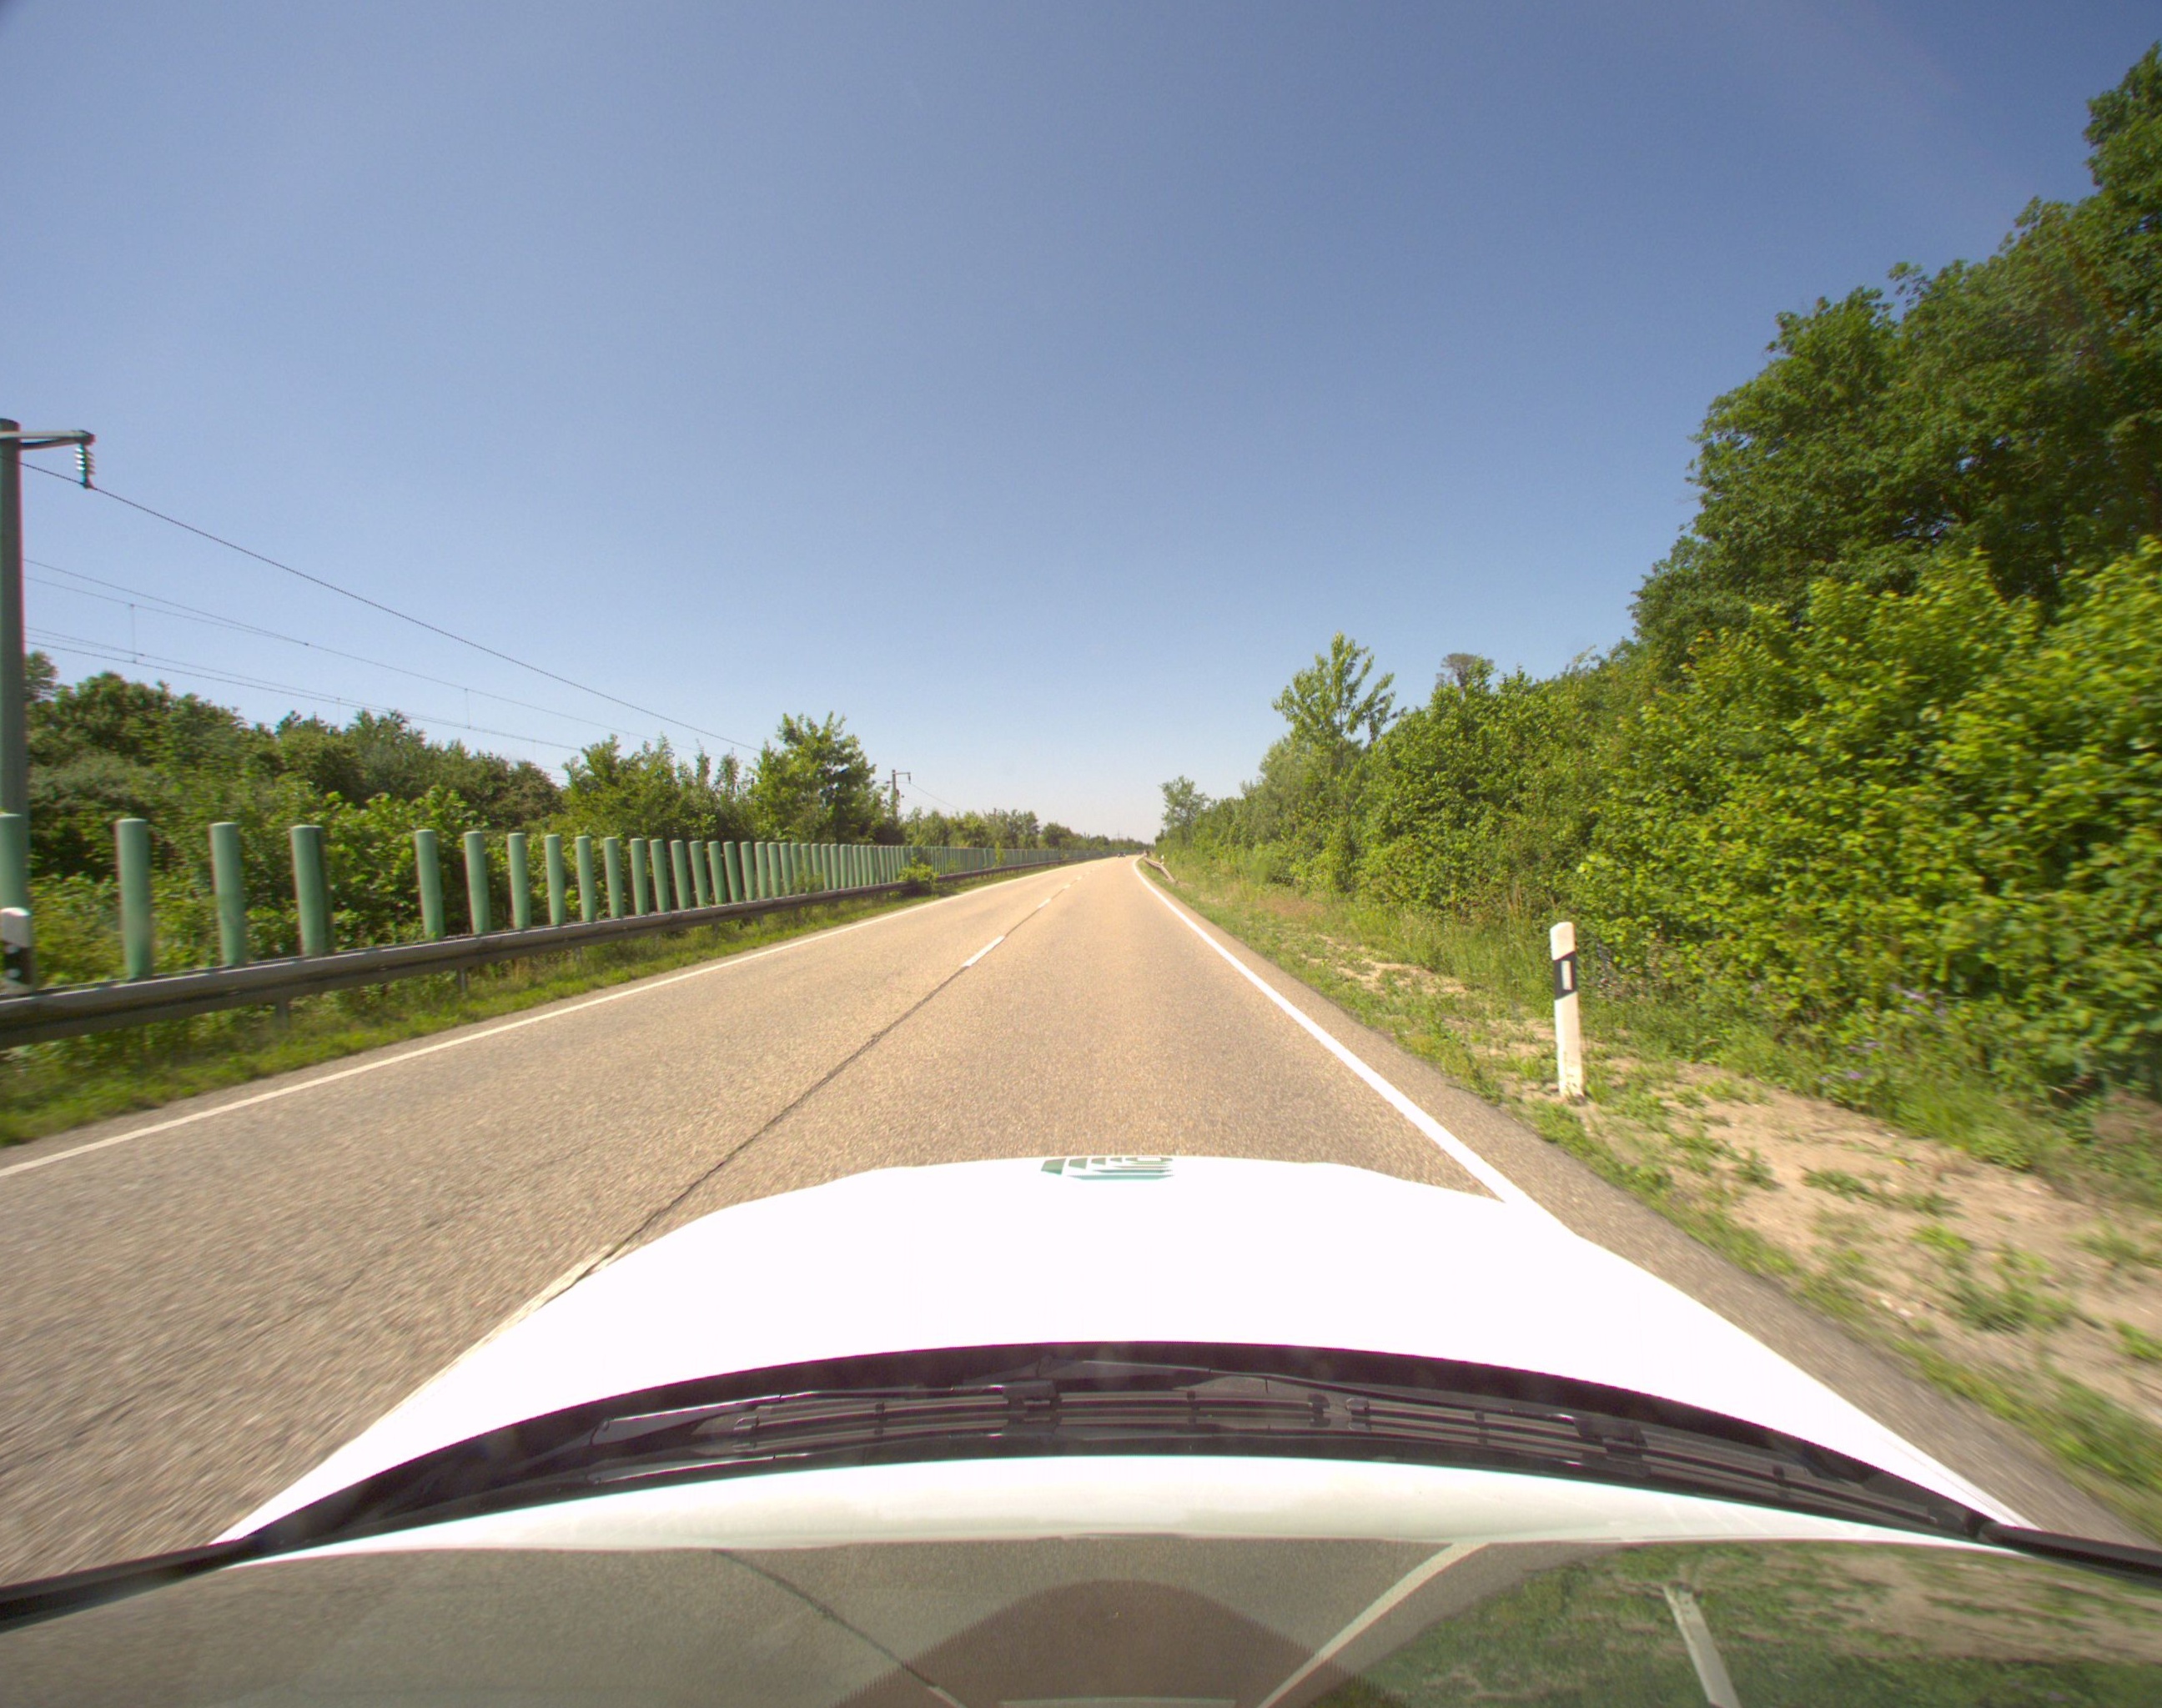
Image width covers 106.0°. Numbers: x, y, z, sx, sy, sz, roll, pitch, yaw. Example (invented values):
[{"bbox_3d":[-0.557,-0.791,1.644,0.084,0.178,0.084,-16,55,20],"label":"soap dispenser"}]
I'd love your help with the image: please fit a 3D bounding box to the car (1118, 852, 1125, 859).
[{"bbox_3d":[10.810,0.411,217.926,1.756,1.640,4.130,-1,0,3],"label":"car"}]
